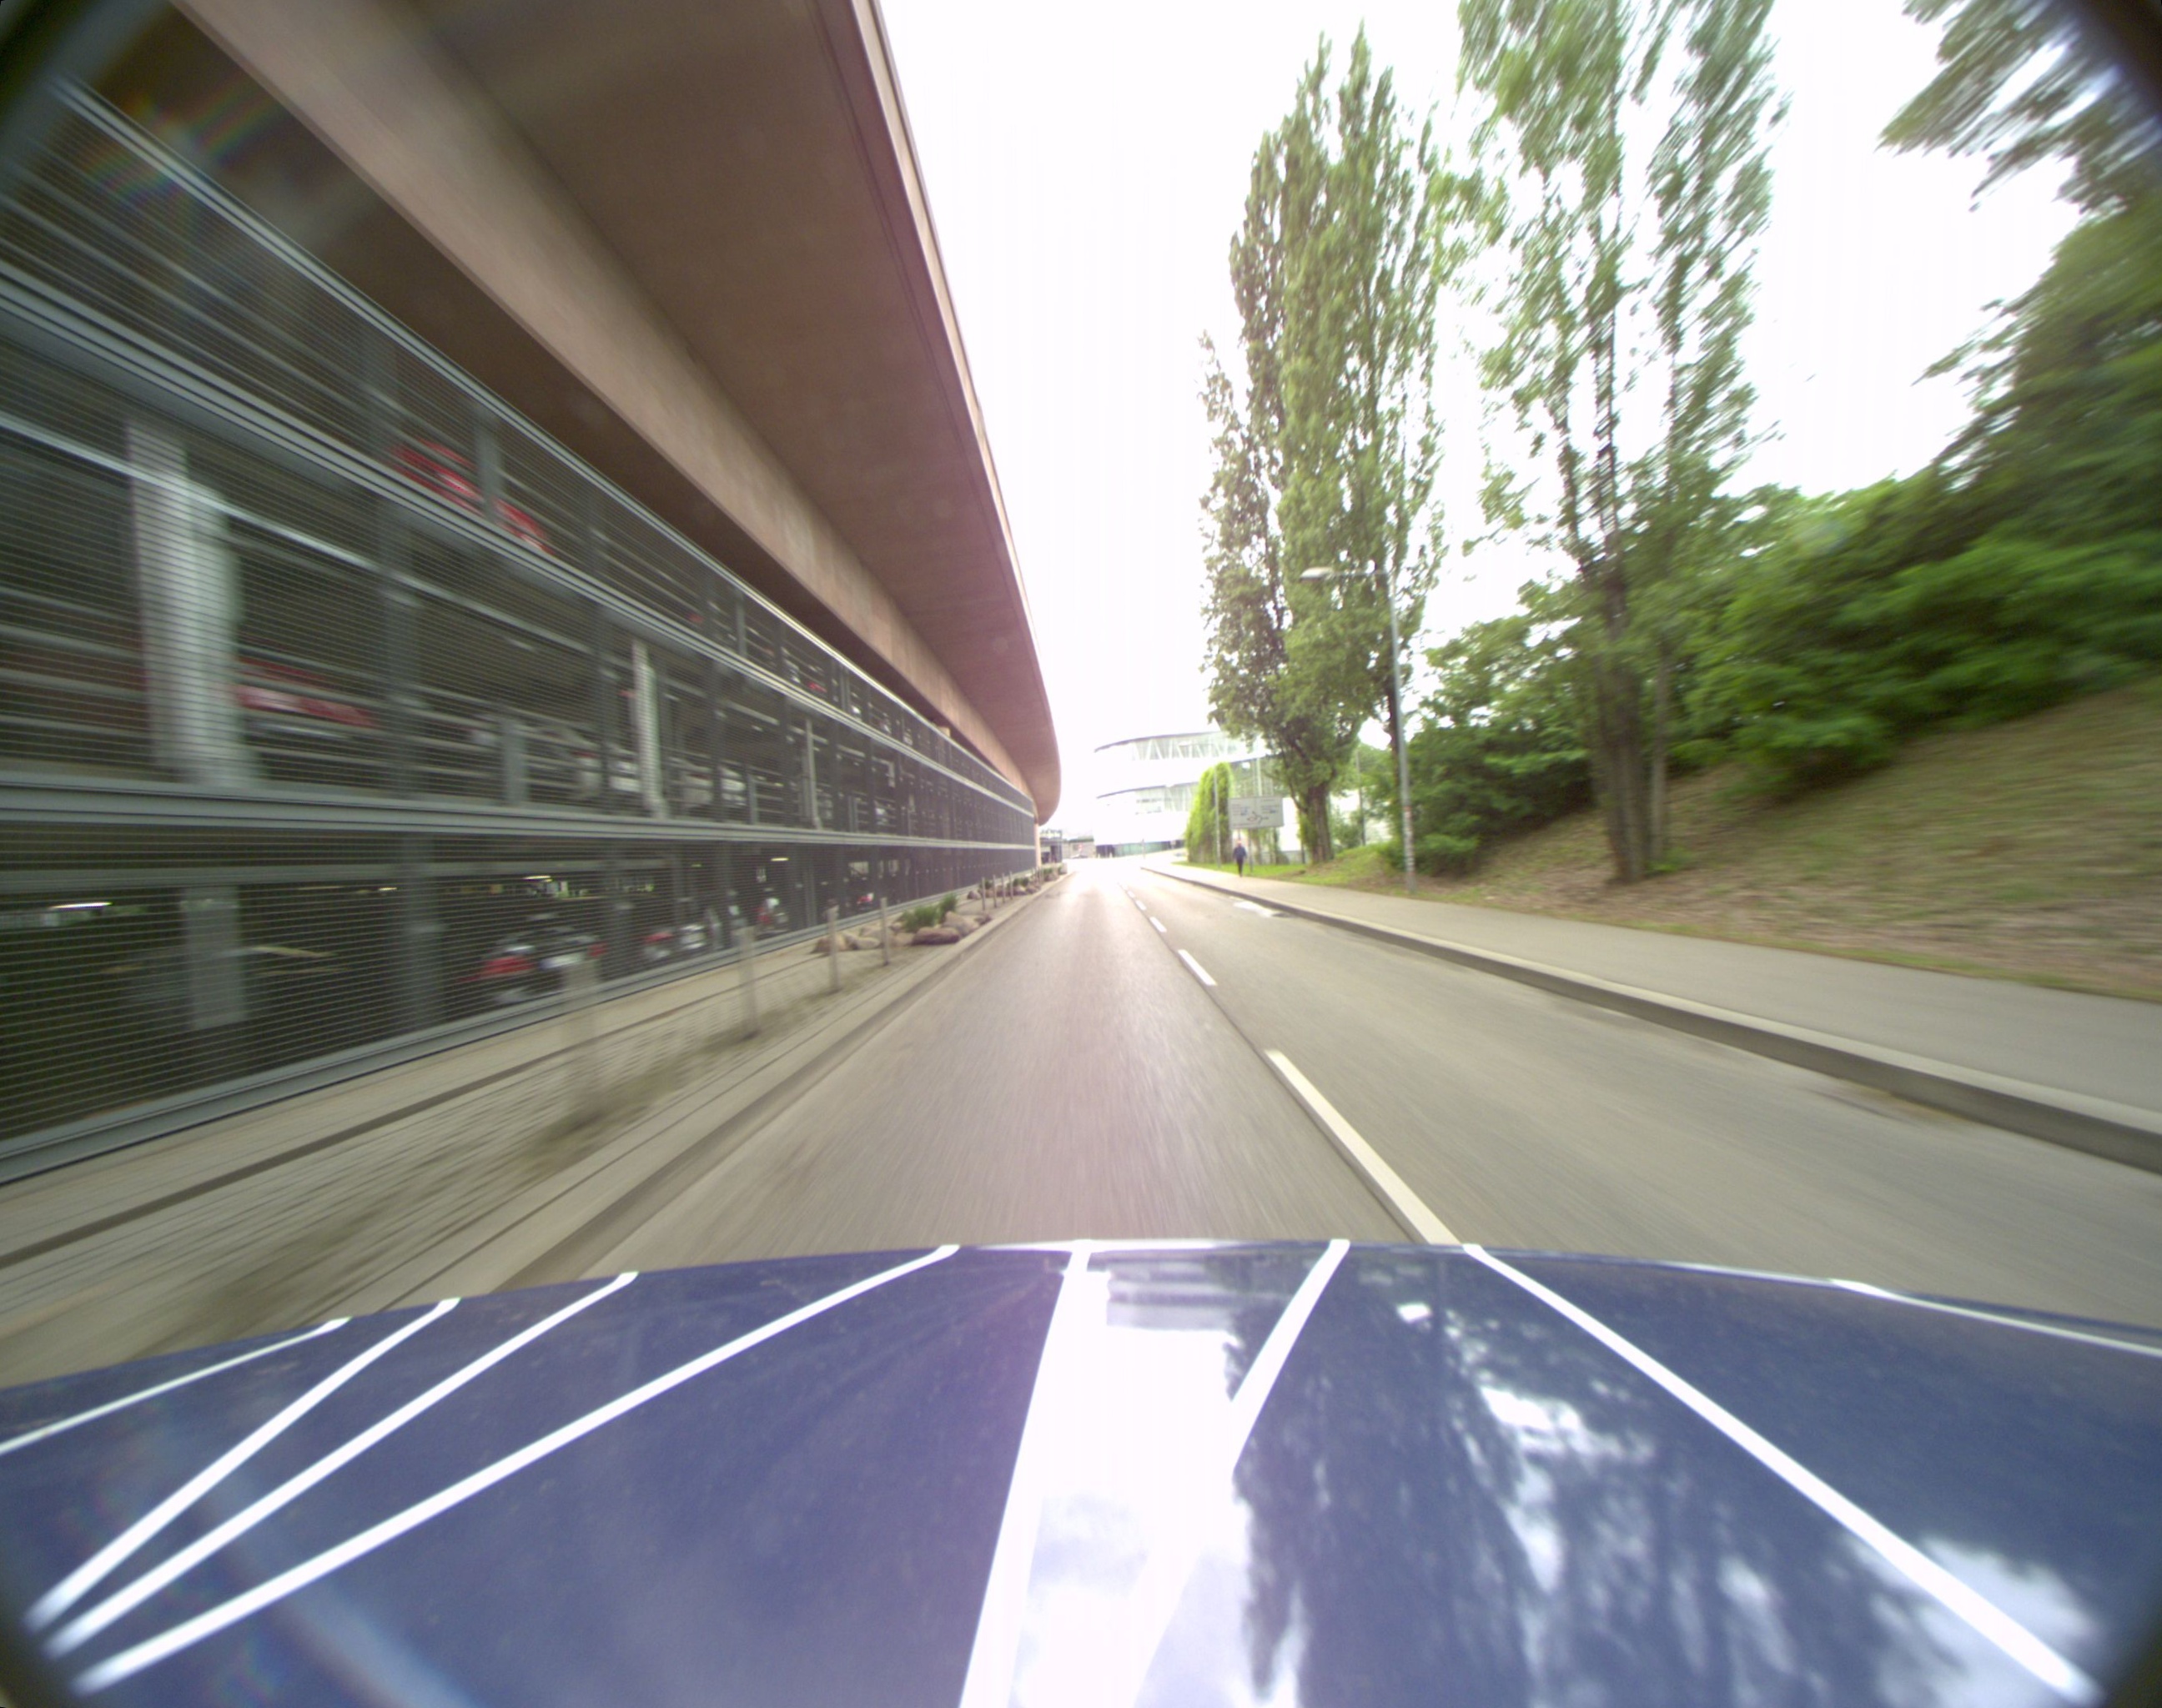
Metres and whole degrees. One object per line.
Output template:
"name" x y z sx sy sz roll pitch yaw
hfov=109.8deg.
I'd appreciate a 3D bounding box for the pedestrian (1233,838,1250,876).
"pedestrian" 8.077 0.159 38.333 0.662 1.883 0.736 -2 1 1
